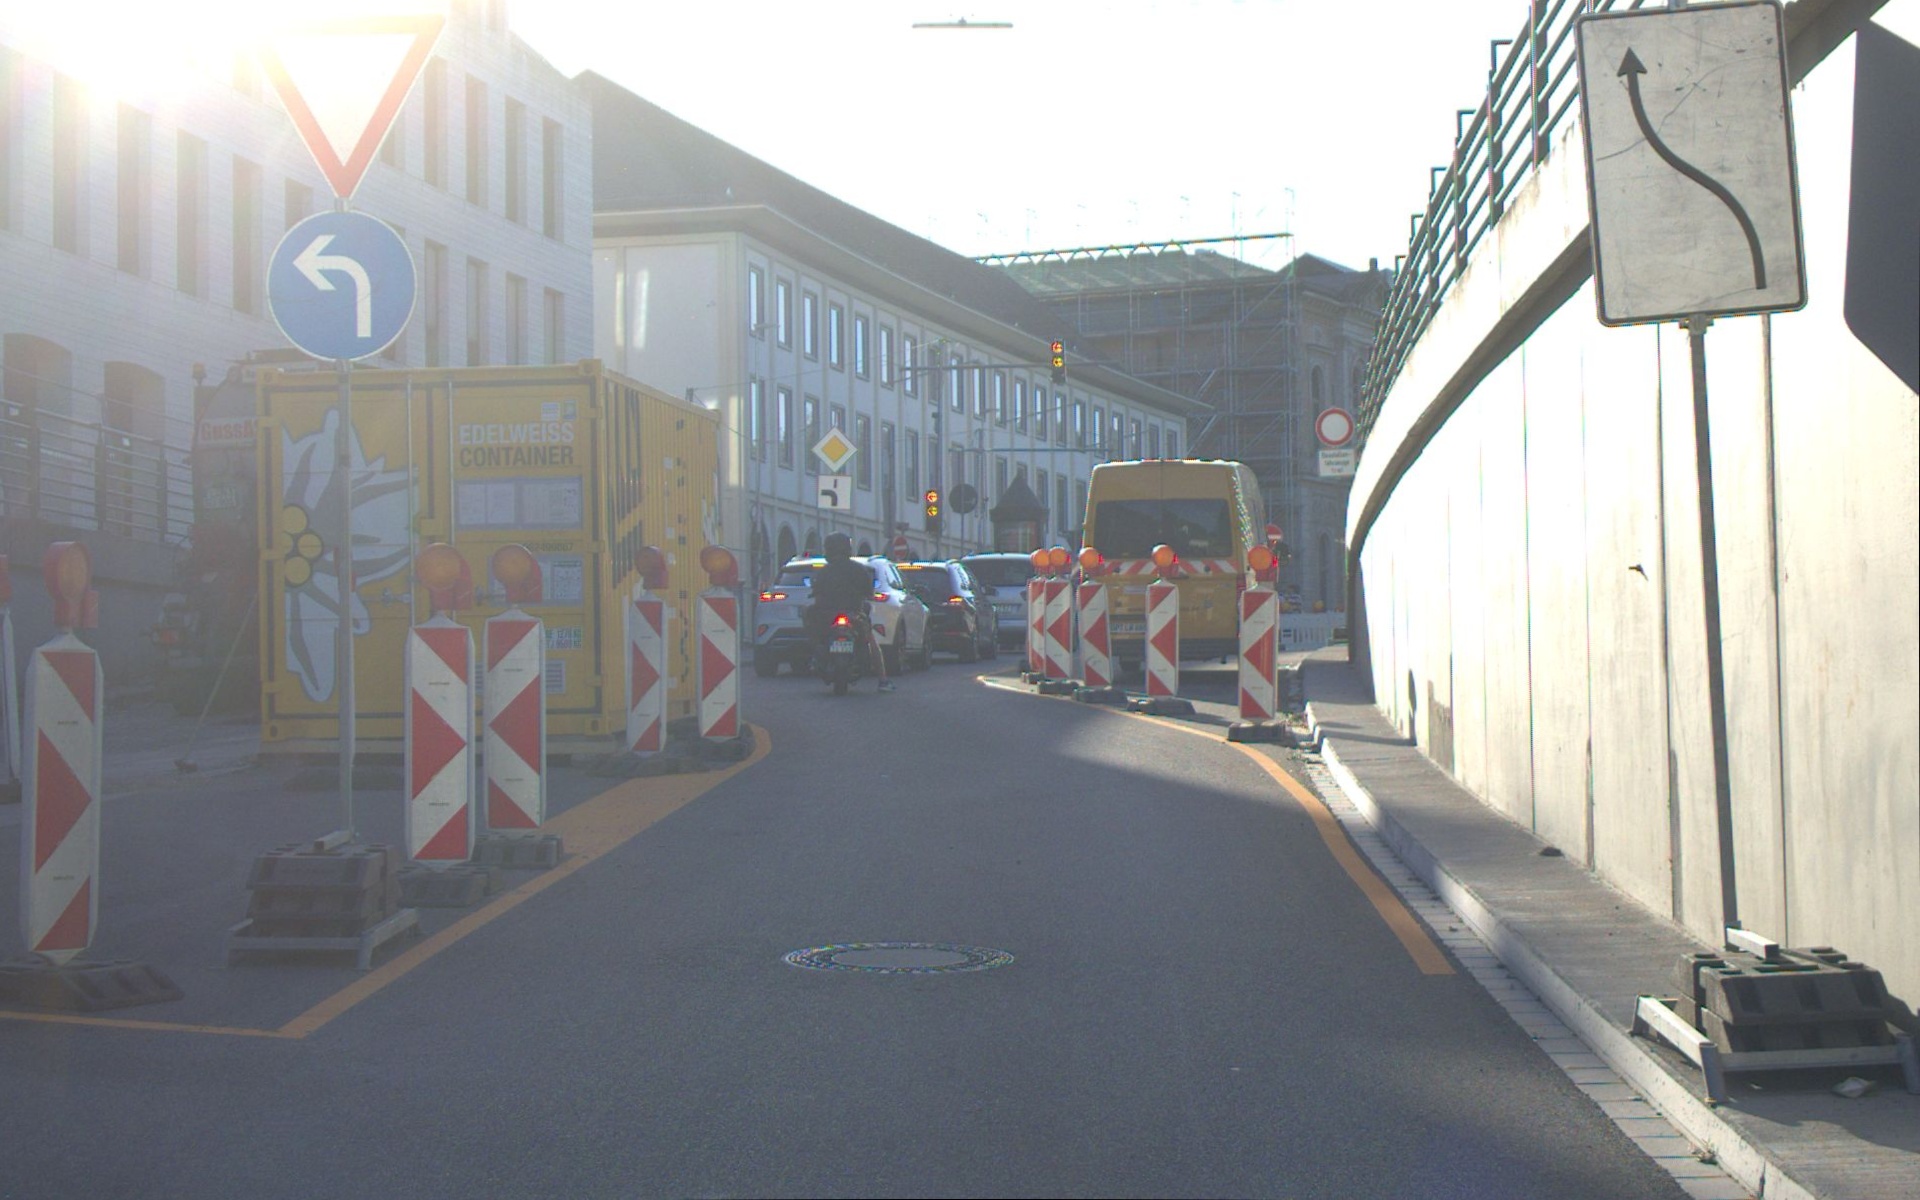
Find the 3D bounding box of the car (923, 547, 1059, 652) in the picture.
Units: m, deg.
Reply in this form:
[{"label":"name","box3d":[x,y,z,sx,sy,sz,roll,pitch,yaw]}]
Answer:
[{"label":"car","box3d":[0.568,-0.029,58.742,1.804,1.715,4.162,0,1,8]}]

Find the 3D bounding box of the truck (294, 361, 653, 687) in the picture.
[{"label":"truck","box3d":[-5.741,-0.872,41.543,2.580,3.478,5.814,-4,0,8]}]

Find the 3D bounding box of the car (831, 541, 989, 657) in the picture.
[{"label":"car","box3d":[-0.677,0.017,49.609,1.774,1.545,4.105,-1,-2,6]}]

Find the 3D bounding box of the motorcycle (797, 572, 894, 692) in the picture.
[{"label":"motorcycle","box3d":[-1.229,0.321,36.439,0.905,1.179,2.579,0,1,-5]}]

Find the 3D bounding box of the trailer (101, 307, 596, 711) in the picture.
[{"label":"trailer","box3d":[-6.320,-0.897,37.212,2.642,3.656,8.746,-5,0,6]}]

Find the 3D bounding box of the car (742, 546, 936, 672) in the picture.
[{"label":"car","box3d":[-1.471,0.075,43.283,1.859,1.467,3.999,1,1,6]}]

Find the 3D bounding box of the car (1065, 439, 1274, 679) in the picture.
[{"label":"car","box3d":[2.623,-0.467,41.327,2.112,2.616,6.985,-1,0,7]}]

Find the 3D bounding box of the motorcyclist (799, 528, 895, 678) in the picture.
[{"label":"motorcyclist","box3d":[-1.209,0.018,36.468,0.954,1.554,1.239,0,1,-5]}]
